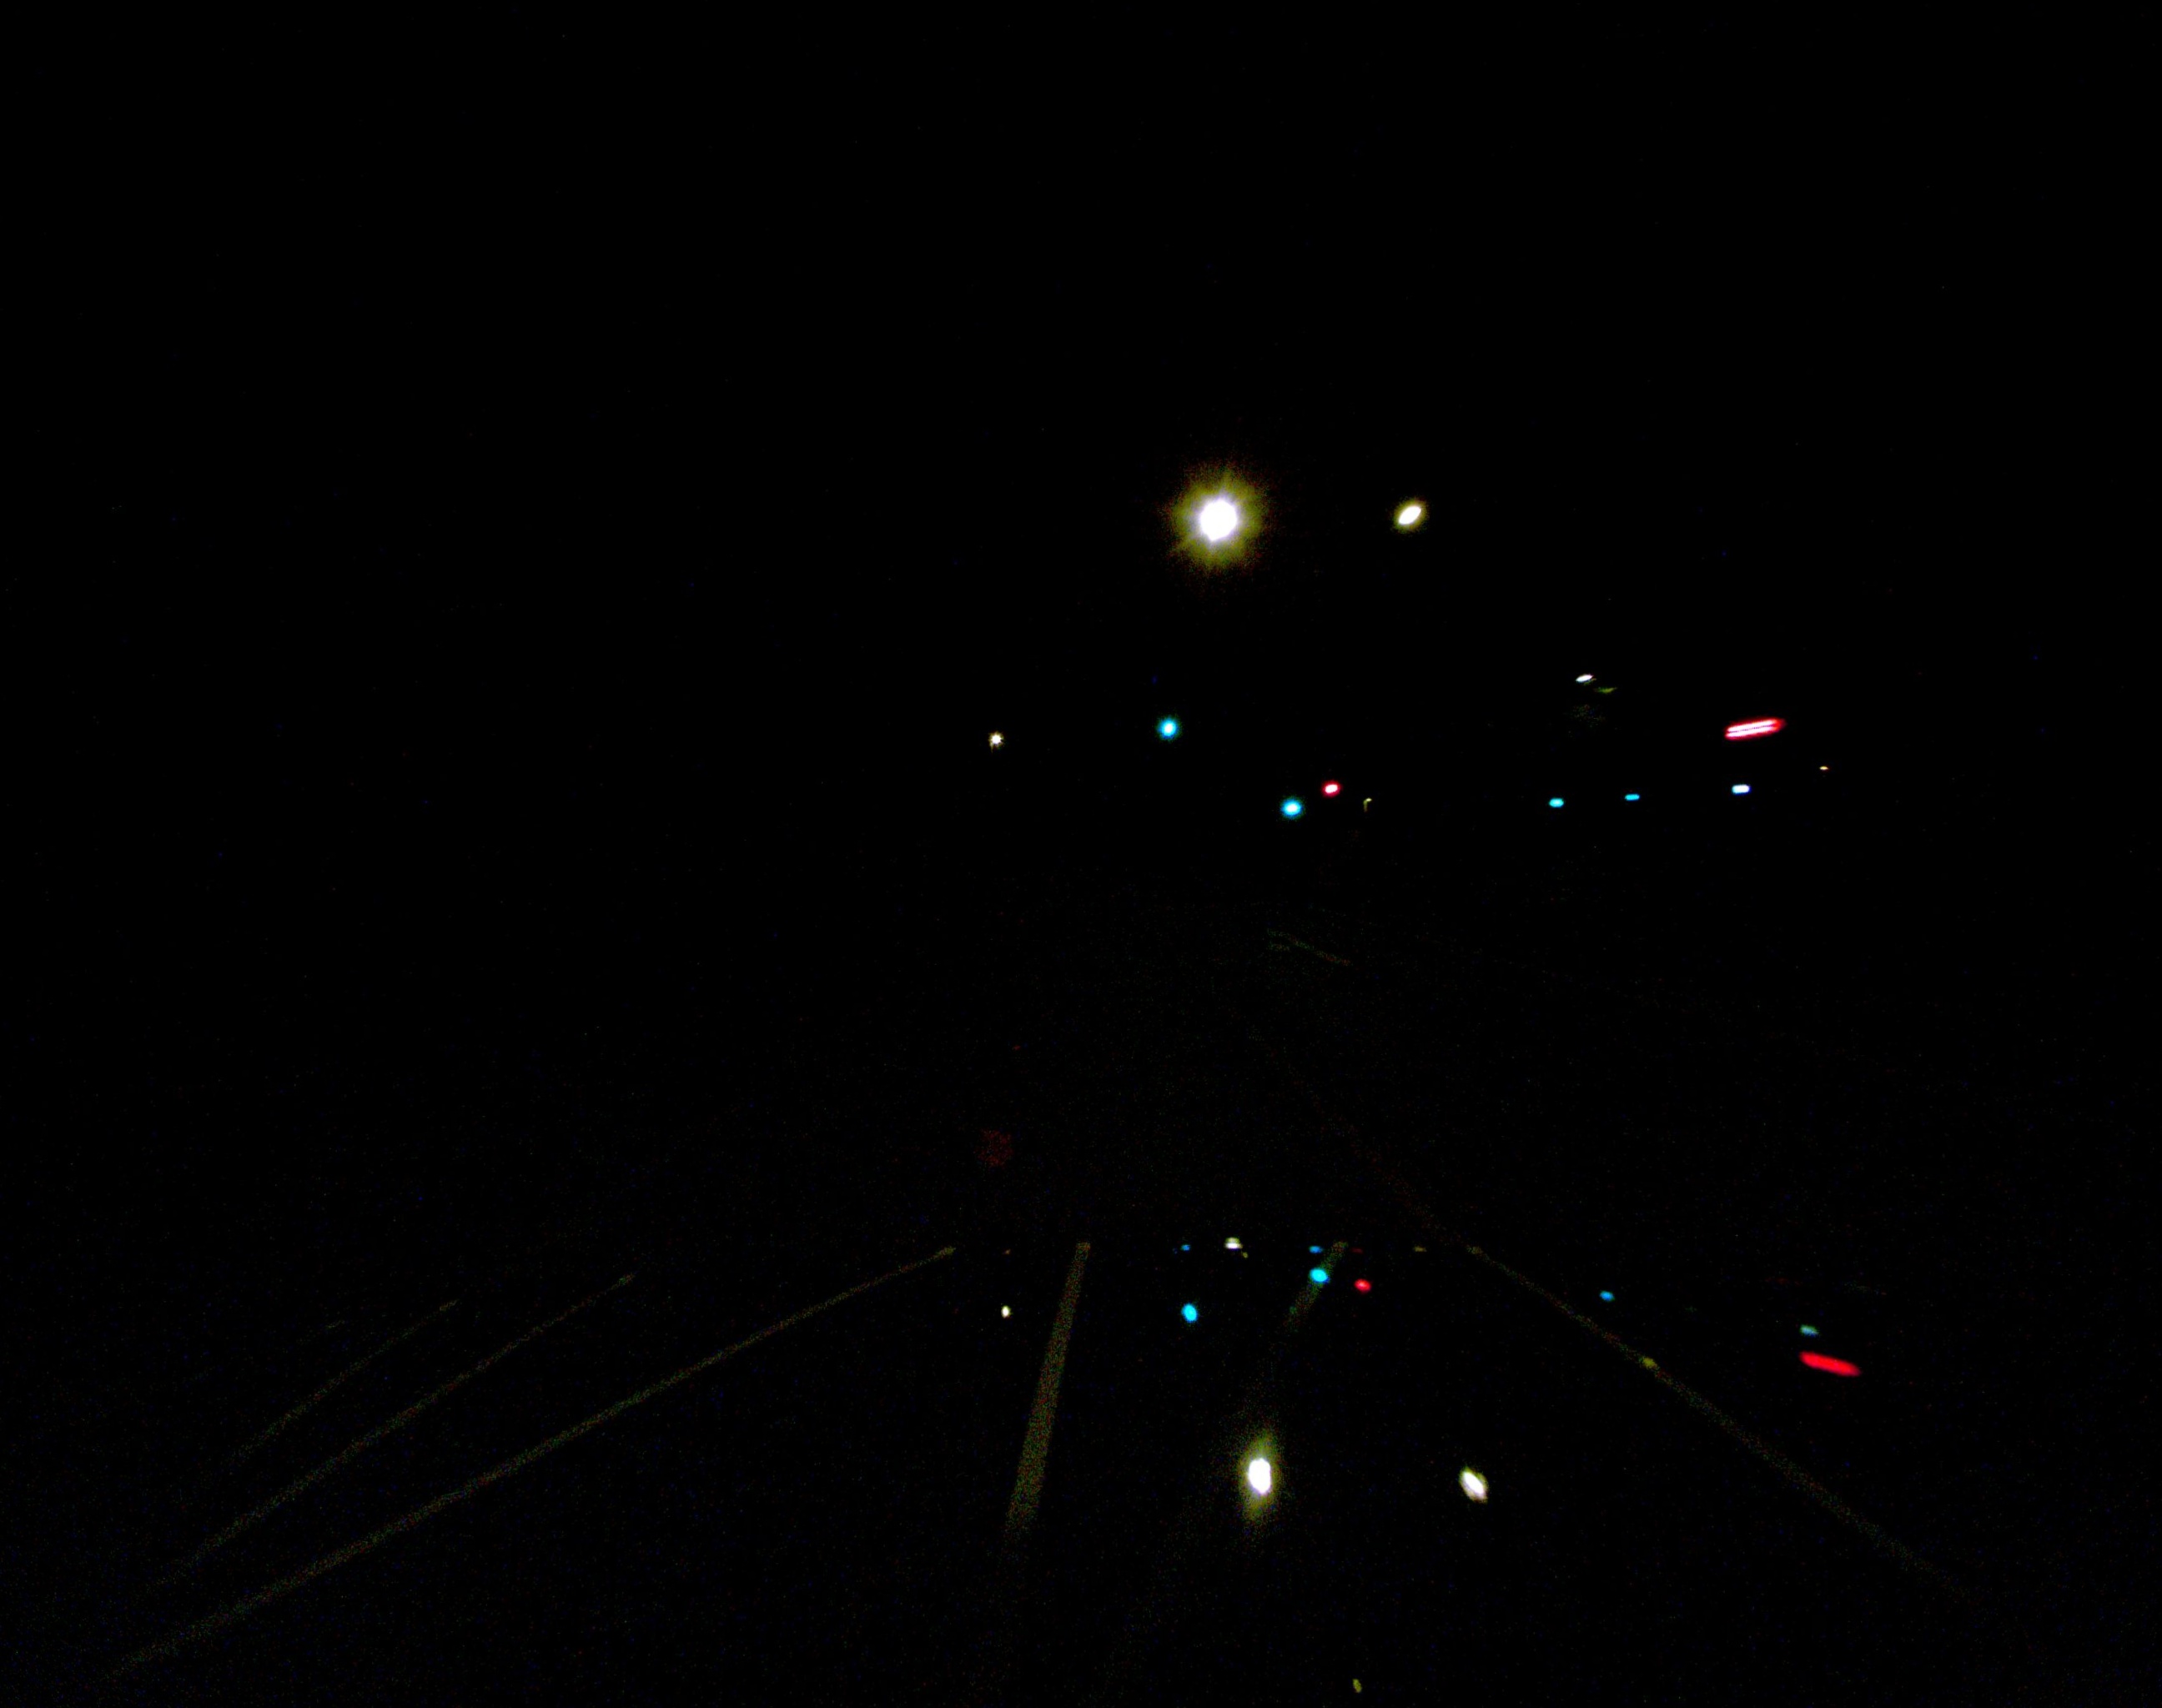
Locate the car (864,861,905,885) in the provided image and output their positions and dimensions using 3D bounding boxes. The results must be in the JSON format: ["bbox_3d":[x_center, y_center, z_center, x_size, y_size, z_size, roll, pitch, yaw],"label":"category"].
[{"bbox_3d":[-13.764,1.325,53.108,1.710,1.496,3.584,-4,1,-33],"label":"car"}]

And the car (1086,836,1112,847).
[{"bbox_3d":[3.115,-2.213,130.311,4.005,1.600,1.752,-6,4,-30],"label":"car"}]

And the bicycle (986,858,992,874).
[{"bbox_3d":[-6.196,0.797,51.132,0.296,0.977,1.942,-3,4,-9],"label":"bicycle"}]
